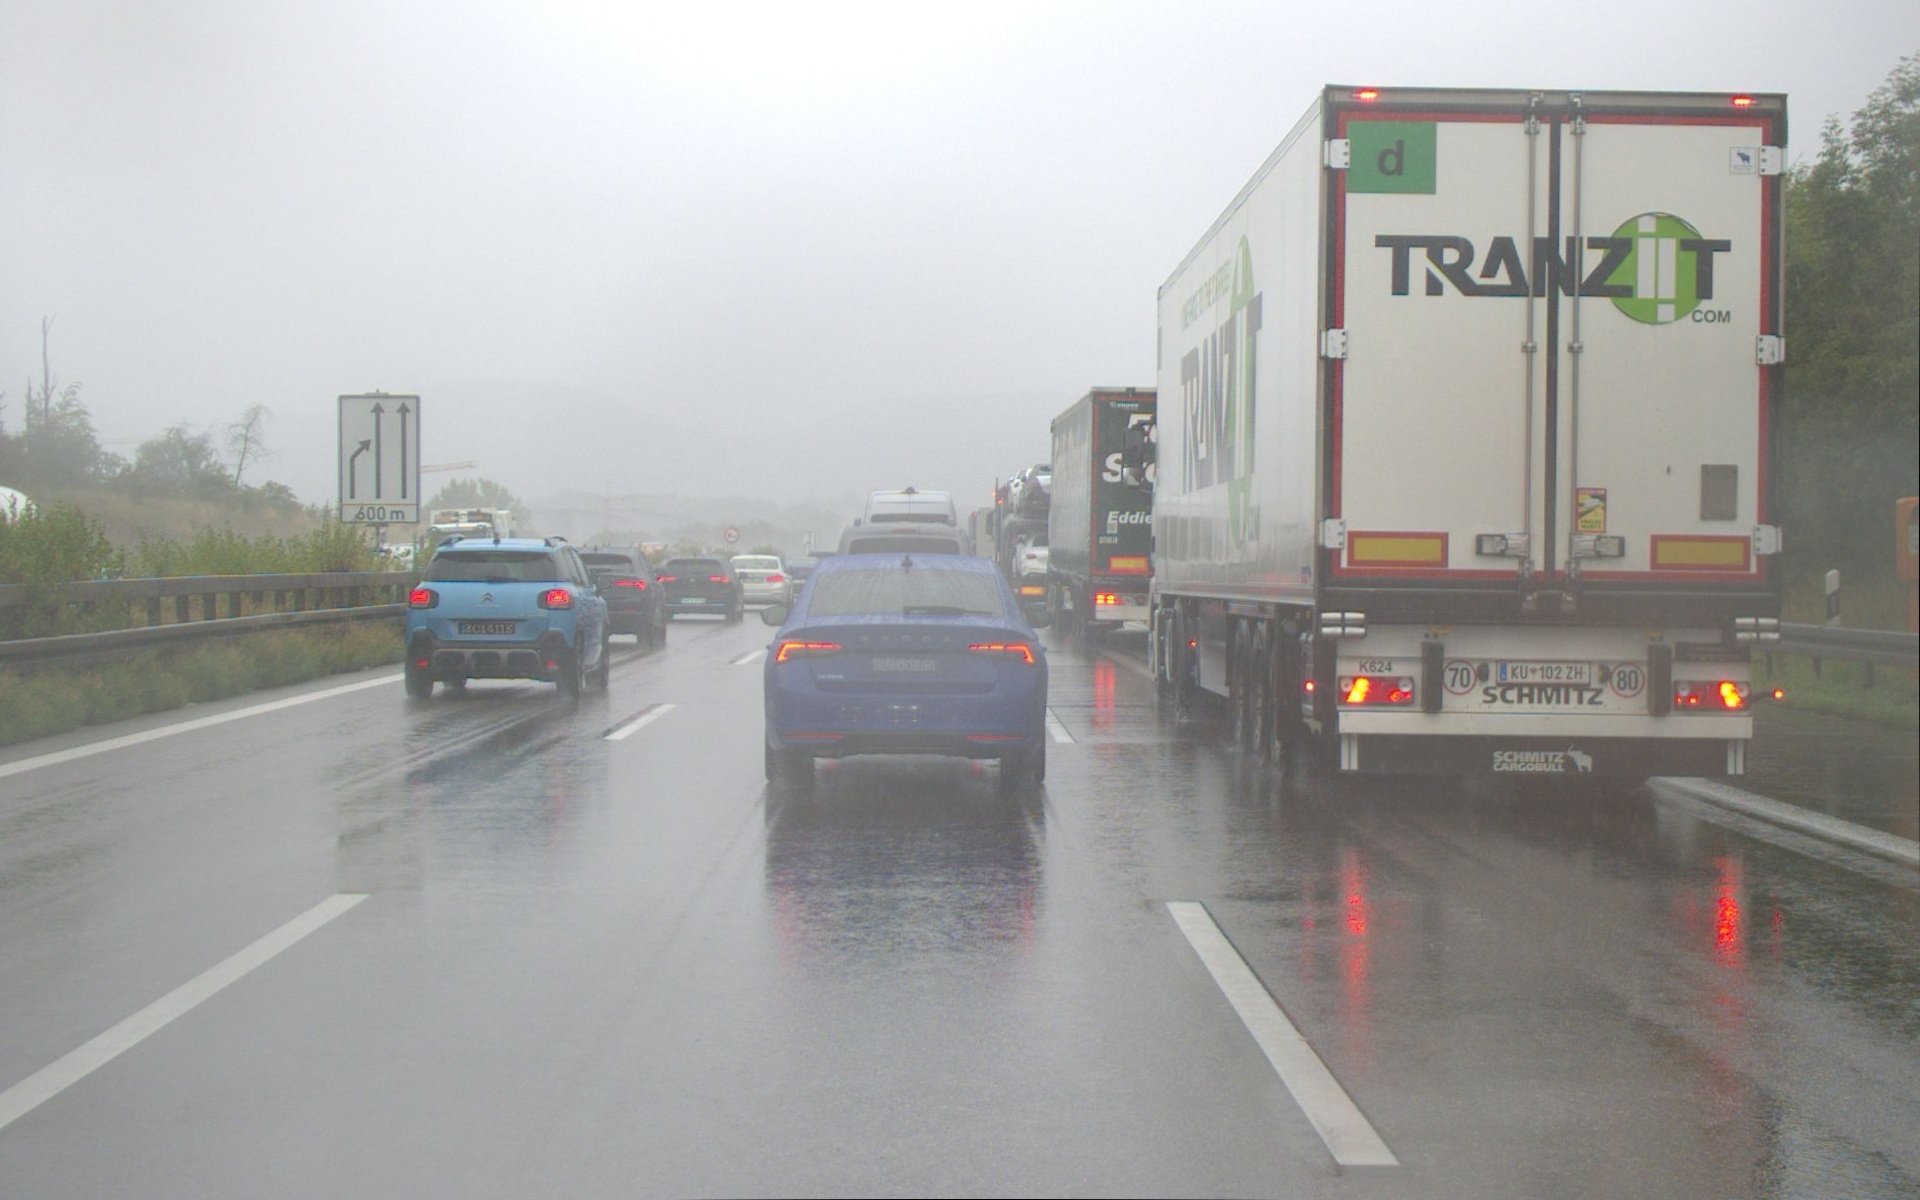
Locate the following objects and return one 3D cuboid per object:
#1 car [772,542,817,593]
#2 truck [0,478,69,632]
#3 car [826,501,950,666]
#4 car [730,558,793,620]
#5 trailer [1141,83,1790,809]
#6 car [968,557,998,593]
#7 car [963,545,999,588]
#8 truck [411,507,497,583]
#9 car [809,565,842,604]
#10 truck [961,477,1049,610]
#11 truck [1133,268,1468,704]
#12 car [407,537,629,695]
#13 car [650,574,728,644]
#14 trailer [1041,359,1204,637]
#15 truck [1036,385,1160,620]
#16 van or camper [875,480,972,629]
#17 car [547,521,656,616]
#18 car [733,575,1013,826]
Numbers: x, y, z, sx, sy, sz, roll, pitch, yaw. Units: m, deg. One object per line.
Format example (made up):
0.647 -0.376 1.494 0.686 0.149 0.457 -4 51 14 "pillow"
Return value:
-5.886 -1.179 122.728 1.448 1.777 3.409 1 1 -1 "car"
-21.836 -0.936 74.650 2.555 3.287 9.349 -2 0 -1 "truck"
-0.795 -0.214 38.783 1.336 1.773 3.322 0 1 -1 "car"
-5.094 -0.303 88.457 1.439 1.528 3.322 0 1 -1 "car"
3.173 -0.995 26.296 2.630 3.999 14.630 0 1 -1 "trailer"
1.042 -1.131 154.856 1.248 1.507 3.108 -1 2 -1 "car"
0.860 -1.393 142.504 1.448 1.777 3.409 1 1 -1 "car"
-19.074 -2.056 129.833 2.481 2.710 4.528 -2 0 0 "truck"
-6.358 -0.748 163.036 1.448 1.777 3.409 1 1 -1 "car"
1.174 -1.568 92.663 1.993 3.410 8.033 0 1 -2 "truck"
3.109 -1.047 32.599 2.630 3.814 4.791 0 1 -1 "truck"
-4.452 0.127 35.118 1.721 1.518 4.000 0 1 0 "car"
-5.789 0.172 73.642 1.439 1.415 3.322 0 1 -1 "car"
2.574 -1.647 57.332 2.047 4.162 11.449 0 1 -1 "trailer"
2.502 -1.781 63.211 2.047 4.178 4.000 0 1 -1 "truck"
-0.711 -0.901 66.911 1.797 2.797 4.768 0 1 -1 "van or camper"
-5.530 -0.513 53.295 1.359 1.426 3.364 0 1 0 "car"
-0.506 0.577 22.205 1.635 1.440 4.000 0 1 0 "car"
